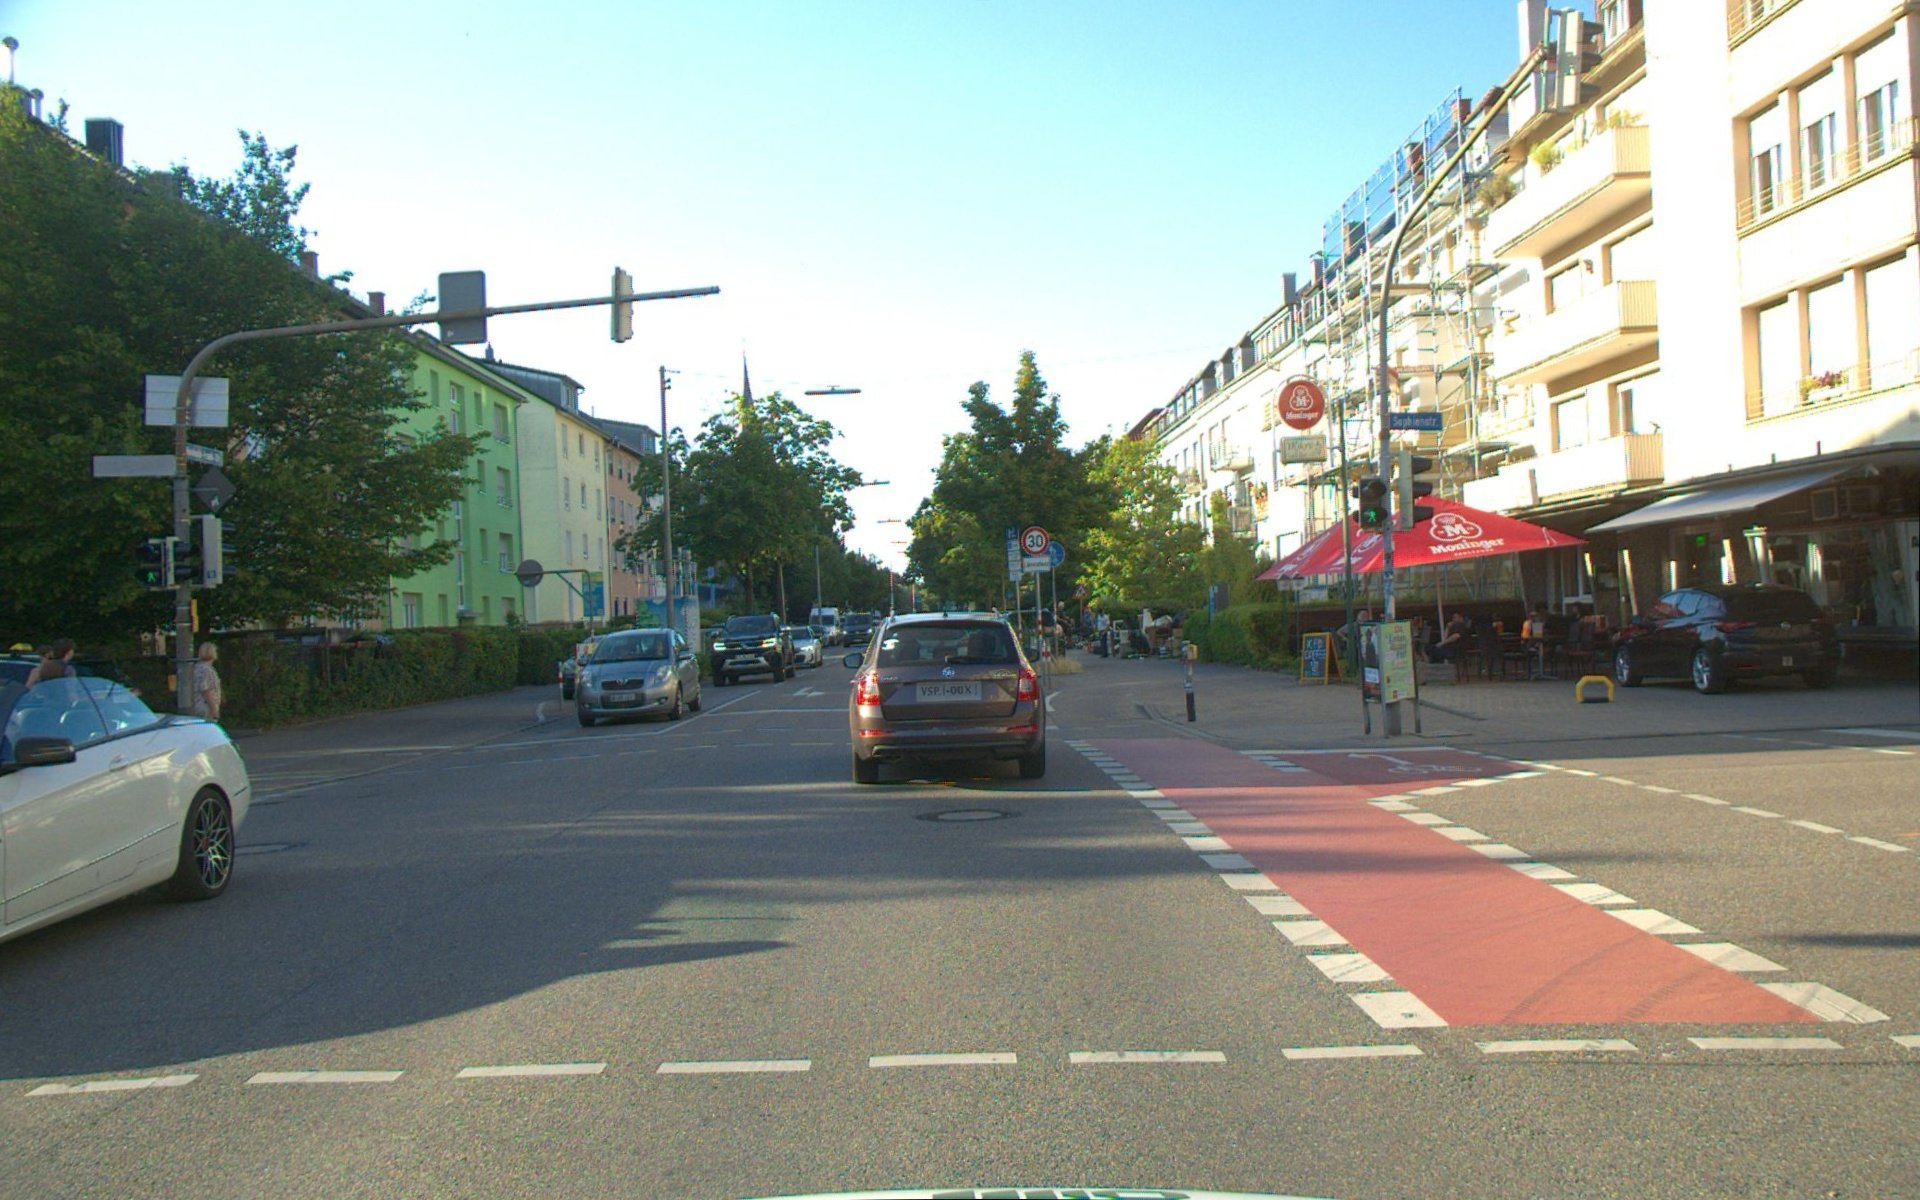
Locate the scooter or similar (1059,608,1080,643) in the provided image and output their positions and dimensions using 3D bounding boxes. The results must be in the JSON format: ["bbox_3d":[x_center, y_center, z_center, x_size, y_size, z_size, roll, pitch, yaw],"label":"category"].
[{"bbox_3d":[4.341,1.007,65.543,0.730,1.340,0.721,-2,-1,5],"label":"scooter or similar"}]

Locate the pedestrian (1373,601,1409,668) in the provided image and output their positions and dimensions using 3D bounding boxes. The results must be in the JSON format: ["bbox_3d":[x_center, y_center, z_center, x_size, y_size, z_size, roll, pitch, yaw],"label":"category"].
[{"bbox_3d":[7.686,0.608,29.499,0.476,1.170,0.526,-2,-1,3],"label":"pedestrian"}]

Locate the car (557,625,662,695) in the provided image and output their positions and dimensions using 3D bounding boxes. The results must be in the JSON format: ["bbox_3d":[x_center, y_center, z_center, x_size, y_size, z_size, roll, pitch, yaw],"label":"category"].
[{"bbox_3d":[-8.330,1.399,39.631,1.620,1.505,3.943,-3,-1,0],"label":"car"}]

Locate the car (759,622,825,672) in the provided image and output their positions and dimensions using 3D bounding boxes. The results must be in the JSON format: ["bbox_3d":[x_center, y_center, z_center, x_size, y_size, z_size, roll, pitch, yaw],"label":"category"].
[{"bbox_3d":[-5.823,1.606,57.721,1.800,1.499,4.670,-4,0,-1],"label":"car"}]

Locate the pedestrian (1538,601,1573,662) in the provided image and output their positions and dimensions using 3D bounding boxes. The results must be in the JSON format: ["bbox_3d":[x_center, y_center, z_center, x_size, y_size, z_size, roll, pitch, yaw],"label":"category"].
[{"bbox_3d":[12.018,0.640,33.387,0.513,1.210,0.413,-2,-3,4],"label":"pedestrian"}]

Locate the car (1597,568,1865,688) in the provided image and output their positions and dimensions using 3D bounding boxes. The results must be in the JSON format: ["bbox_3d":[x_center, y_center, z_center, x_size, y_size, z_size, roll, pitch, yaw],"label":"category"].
[{"bbox_3d":[10.953,0.392,23.862,1.791,1.510,4.203,-2,-1,-1],"label":"car"}]

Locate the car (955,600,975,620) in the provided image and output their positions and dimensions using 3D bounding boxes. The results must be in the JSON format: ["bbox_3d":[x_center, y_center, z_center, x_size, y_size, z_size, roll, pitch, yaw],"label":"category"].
[{"bbox_3d":[0.466,0.915,152.309,1.718,1.716,4.252,-1,0,0],"label":"car"}]

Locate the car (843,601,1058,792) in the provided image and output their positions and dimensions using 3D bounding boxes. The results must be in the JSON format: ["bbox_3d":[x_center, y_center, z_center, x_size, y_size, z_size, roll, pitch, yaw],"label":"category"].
[{"bbox_3d":[-0.059,0.799,15.444,1.718,1.518,4.000,-1,0,0],"label":"car"}]

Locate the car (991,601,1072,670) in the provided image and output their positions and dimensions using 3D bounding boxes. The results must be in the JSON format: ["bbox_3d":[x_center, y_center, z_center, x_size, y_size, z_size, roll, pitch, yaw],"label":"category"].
[{"bbox_3d":[1.845,0.910,43.667,1.756,1.660,4.027,-2,0,-2],"label":"car"}]

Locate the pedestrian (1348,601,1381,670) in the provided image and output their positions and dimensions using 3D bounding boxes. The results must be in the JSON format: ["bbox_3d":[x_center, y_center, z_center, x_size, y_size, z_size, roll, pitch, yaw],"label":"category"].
[{"bbox_3d":[6.958,0.606,28.486,0.403,1.170,0.632,-2,-1,3],"label":"pedestrian"}]

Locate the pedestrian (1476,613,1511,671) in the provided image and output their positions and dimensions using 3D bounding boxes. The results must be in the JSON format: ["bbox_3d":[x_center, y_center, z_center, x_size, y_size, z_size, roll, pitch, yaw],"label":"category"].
[{"bbox_3d":[10.061,0.792,31.221,0.513,1.067,0.413,-2,-1,4],"label":"pedestrian"}]

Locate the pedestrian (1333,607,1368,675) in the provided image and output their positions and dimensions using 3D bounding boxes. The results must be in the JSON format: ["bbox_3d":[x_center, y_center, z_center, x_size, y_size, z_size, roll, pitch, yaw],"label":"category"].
[{"bbox_3d":[6.944,0.728,29.431,0.483,1.170,0.526,-2,-1,3],"label":"pedestrian"}]

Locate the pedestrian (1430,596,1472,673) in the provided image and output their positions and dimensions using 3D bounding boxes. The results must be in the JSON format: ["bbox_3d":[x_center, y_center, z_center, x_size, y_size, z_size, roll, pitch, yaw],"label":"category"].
[{"bbox_3d":[8.522,0.599,28.719,0.513,1.305,0.540,-2,-1,1],"label":"pedestrian"}]

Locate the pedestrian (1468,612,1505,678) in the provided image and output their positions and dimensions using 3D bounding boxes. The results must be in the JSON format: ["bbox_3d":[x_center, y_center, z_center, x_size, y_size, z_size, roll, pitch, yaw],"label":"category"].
[{"bbox_3d":[9.463,0.803,29.710,0.513,1.170,0.413,-2,-1,4],"label":"pedestrian"}]

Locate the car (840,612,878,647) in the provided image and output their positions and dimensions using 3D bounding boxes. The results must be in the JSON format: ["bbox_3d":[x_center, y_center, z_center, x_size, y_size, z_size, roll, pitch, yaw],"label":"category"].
[{"bbox_3d":[-6.143,1.778,101.076,1.954,1.979,4.776,-4,-1,-1],"label":"car"}]

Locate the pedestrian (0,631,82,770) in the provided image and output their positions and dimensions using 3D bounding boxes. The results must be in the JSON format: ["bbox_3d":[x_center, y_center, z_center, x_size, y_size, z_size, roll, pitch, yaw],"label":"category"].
[{"bbox_3d":[-11.325,1.221,20.304,0.596,1.658,0.747,0,-2,35],"label":"pedestrian"}]

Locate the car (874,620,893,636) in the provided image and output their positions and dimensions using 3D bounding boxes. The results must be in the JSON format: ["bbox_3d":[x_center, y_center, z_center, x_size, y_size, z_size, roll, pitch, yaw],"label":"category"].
[{"bbox_3d":[-8.043,2.920,174.319,1.665,1.496,4.294,-4,-1,1],"label":"car"}]

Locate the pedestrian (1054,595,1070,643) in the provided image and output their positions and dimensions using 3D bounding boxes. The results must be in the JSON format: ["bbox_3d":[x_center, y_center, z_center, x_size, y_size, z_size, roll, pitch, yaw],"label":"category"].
[{"bbox_3d":[4.059,0.757,65.575,0.537,1.882,0.765,-2,-1,6],"label":"pedestrian"}]

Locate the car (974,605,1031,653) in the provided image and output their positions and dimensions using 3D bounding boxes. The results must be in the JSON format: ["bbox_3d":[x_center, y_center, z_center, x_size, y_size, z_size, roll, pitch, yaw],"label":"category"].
[{"bbox_3d":[1.583,1.079,62.952,1.688,1.684,4.594,-2,-1,-4],"label":"car"}]

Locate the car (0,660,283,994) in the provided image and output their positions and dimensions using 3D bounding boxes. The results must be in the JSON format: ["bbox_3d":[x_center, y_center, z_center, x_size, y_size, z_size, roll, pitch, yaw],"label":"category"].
[{"bbox_3d":[-5.050,1.067,7.992,1.804,1.343,4.439,-3,-1,-2],"label":"car"}]

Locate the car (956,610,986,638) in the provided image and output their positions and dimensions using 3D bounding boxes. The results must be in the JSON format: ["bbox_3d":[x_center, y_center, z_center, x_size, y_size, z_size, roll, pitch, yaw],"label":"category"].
[{"bbox_3d":[0.685,1.452,102.971,1.684,1.629,4.094,-3,0,-2],"label":"car"}]

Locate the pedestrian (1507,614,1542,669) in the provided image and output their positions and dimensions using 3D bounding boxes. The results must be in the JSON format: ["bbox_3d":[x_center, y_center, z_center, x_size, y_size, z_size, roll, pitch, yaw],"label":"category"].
[{"bbox_3d":[10.633,0.773,31.154,0.513,1.008,0.413,-2,-1,4],"label":"pedestrian"}]

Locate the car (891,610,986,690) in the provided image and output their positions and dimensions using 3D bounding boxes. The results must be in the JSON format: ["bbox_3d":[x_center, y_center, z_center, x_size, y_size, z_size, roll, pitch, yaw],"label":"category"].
[{"bbox_3d":[-0.480,1.042,34.549,1.854,1.533,3.788,1,-2,-2],"label":"car"}]

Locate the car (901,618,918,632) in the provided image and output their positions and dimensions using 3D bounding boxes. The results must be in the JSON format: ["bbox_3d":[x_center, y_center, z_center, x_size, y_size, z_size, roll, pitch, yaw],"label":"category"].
[{"bbox_3d":[-6.833,3.344,222.234,1.955,1.780,3.994,-3,-1,-6],"label":"car"}]

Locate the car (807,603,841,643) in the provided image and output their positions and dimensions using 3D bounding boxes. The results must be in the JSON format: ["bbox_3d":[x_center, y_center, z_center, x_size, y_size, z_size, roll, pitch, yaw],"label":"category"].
[{"bbox_3d":[-9.512,1.584,115.876,1.953,2.662,7.102,-1,0,-2],"label":"car"}]

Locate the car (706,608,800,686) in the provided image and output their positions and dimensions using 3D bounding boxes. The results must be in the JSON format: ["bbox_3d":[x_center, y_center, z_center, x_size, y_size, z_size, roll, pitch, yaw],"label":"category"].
[{"bbox_3d":[-5.567,1.241,45.093,1.824,1.861,5.226,-4,-1,0],"label":"car"}]

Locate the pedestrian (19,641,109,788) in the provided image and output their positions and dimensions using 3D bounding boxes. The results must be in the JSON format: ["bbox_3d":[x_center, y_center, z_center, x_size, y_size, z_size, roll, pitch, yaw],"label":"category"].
[{"bbox_3d":[-10.720,1.357,19.803,0.733,1.686,0.607,-2,-1,-8],"label":"pedestrian"}]

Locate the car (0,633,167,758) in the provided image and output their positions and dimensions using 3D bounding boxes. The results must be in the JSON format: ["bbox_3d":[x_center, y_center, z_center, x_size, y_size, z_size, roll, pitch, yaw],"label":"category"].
[{"bbox_3d":[-13.813,1.333,23.154,4.500,1.642,1.842,-1,-1,-4],"label":"car"}]

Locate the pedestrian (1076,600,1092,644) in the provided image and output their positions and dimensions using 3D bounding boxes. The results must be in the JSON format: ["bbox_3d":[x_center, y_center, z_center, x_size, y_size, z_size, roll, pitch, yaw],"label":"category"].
[{"bbox_3d":[4.936,0.872,65.877,0.500,1.726,0.526,-2,-1,-6],"label":"pedestrian"}]

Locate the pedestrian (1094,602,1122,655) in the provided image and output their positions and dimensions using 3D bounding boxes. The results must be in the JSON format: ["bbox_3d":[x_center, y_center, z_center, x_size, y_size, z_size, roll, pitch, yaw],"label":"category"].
[{"bbox_3d":[4.549,0.890,50.861,0.547,1.595,0.744,-2,-1,-19],"label":"pedestrian"}]

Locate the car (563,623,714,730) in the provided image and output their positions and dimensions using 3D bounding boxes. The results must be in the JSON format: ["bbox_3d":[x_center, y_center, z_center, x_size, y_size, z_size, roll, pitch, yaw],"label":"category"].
[{"bbox_3d":[-5.427,1.251,28.407,1.768,1.584,3.999,-4,-1,-1],"label":"car"}]

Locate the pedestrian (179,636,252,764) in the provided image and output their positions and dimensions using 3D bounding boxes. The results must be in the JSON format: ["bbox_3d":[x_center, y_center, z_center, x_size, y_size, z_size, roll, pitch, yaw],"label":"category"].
[{"bbox_3d":[-9.663,1.285,21.487,0.594,1.622,0.749,1,-2,-4],"label":"pedestrian"}]
